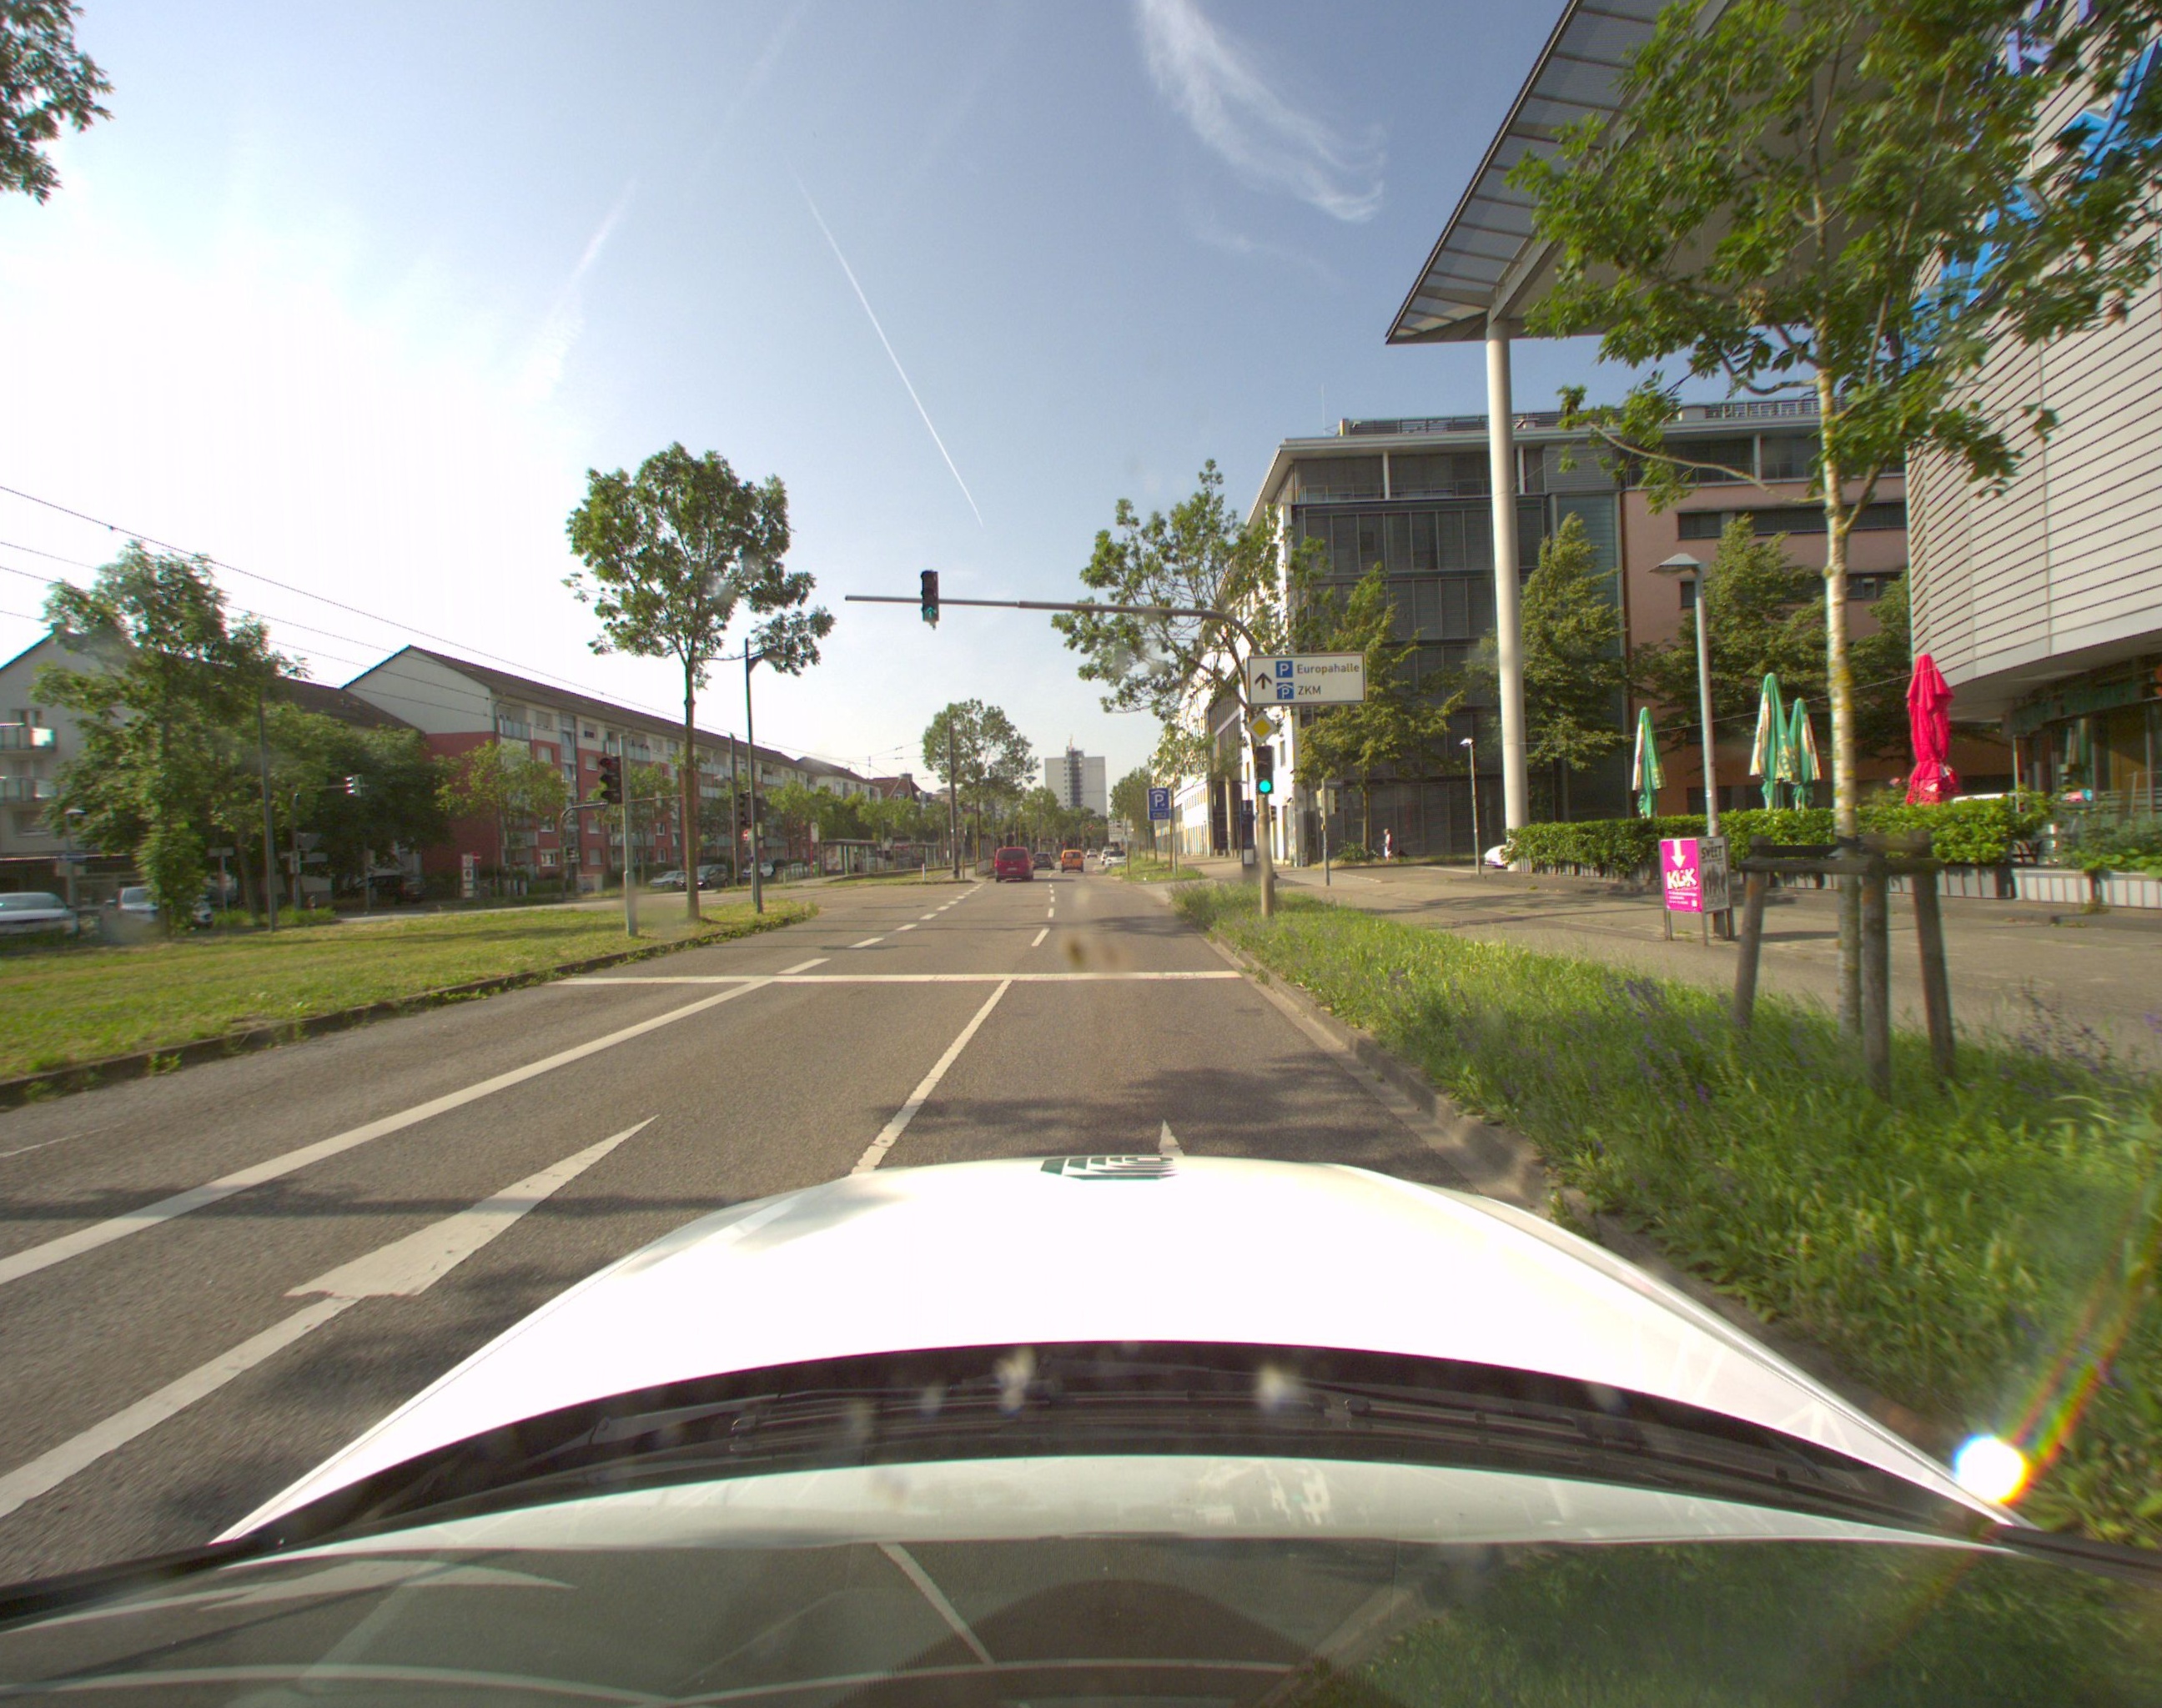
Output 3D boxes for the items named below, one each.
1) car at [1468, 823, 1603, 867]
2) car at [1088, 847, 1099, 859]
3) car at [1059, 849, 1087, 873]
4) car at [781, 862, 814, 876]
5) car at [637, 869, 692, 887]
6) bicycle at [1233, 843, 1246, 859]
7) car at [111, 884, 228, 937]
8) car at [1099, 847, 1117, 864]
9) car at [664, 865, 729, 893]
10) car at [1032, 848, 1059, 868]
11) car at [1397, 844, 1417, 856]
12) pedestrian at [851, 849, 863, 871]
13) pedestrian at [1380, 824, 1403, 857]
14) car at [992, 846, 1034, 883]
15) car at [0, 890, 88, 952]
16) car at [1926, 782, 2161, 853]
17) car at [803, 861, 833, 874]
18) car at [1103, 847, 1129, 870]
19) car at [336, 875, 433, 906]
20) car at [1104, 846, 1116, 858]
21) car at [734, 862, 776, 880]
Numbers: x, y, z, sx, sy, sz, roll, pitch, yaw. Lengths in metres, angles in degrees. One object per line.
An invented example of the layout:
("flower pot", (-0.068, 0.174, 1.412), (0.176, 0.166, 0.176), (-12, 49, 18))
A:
("car", (18.164, -0.371, 32.671), (4.305, 1.465, 1.902), (-3, 1, 1))
("car", (2.287, -0.135, 146.873), (1.987, 2.013, 4.000), (-2, 0, 1))
("car", (-0.554, 0.484, 62.273), (1.868, 1.696, 3.976), (-2, 0, 2))
("car", (-29.753, 1.548, 85.621), (1.974, 1.360, 4.070), (-1, 0, 1))
("car", (-30.545, 1.771, 59.870), (1.827, 1.147, 4.166), (-1, 0, 1))
("bicycle", (10.882, -0.208, 56.044), (0.492, 1.086, 1.549), (-4, 0, -1))
("car", (-29.486, 1.756, 26.317), (4.297, 1.463, 1.976), (-1, 0, 35))
("car", (2.781, 0.118, 83.930), (1.682, 1.526, 3.853), (-4, 0, 2))
("car", (-26.567, 1.693, 56.483), (1.985, 1.706, 4.716), (-2, 0, 3))
("car", (-3.125, 0.322, 72.625), (1.986, 1.706, 4.002), (-2, 0, 2))
("car", (16.091, -0.204, 40.210), (0.763, 0.587, 0.498), (-2, 0, 0))
("pedestrian", (-17.540, 0.487, 63.905), (0.670, 1.653, 0.794), (-3, 0, -3))
("pedestrian", (15.293, -0.666, 40.140), (0.774, 1.616, 0.713), (-2, 0, 0))
("car", (-3.685, 0.545, 44.848), (1.868, 1.853, 4.000), (-2, 0, 1))
("car", (-29.339, 1.813, 22.675), (4.407, 1.514, 2.013), (-2, 0, 38))
("car", (31.753, -1.153, 26.983), (4.849, 2.013, 2.076), (-3, 0, 11))
("car", (-29.298, 1.524, 90.867), (1.974, 1.360, 4.070), (-1, 0, 1))
("car", (2.443, 0.325, 57.719), (1.714, 1.519, 3.782), (-2, 0, 1))
("car", (-41.015, 2.121, 48.020), (3.971, 1.695, 2.001), (-1, 0, 2))
("car", (5.220, -0.416, 147.810), (1.986, 2.013, 4.002), (-2, 0, 2))
("car", (-30.266, 1.588, 75.742), (1.974, 1.556, 4.538), (-1, 0, 1))
